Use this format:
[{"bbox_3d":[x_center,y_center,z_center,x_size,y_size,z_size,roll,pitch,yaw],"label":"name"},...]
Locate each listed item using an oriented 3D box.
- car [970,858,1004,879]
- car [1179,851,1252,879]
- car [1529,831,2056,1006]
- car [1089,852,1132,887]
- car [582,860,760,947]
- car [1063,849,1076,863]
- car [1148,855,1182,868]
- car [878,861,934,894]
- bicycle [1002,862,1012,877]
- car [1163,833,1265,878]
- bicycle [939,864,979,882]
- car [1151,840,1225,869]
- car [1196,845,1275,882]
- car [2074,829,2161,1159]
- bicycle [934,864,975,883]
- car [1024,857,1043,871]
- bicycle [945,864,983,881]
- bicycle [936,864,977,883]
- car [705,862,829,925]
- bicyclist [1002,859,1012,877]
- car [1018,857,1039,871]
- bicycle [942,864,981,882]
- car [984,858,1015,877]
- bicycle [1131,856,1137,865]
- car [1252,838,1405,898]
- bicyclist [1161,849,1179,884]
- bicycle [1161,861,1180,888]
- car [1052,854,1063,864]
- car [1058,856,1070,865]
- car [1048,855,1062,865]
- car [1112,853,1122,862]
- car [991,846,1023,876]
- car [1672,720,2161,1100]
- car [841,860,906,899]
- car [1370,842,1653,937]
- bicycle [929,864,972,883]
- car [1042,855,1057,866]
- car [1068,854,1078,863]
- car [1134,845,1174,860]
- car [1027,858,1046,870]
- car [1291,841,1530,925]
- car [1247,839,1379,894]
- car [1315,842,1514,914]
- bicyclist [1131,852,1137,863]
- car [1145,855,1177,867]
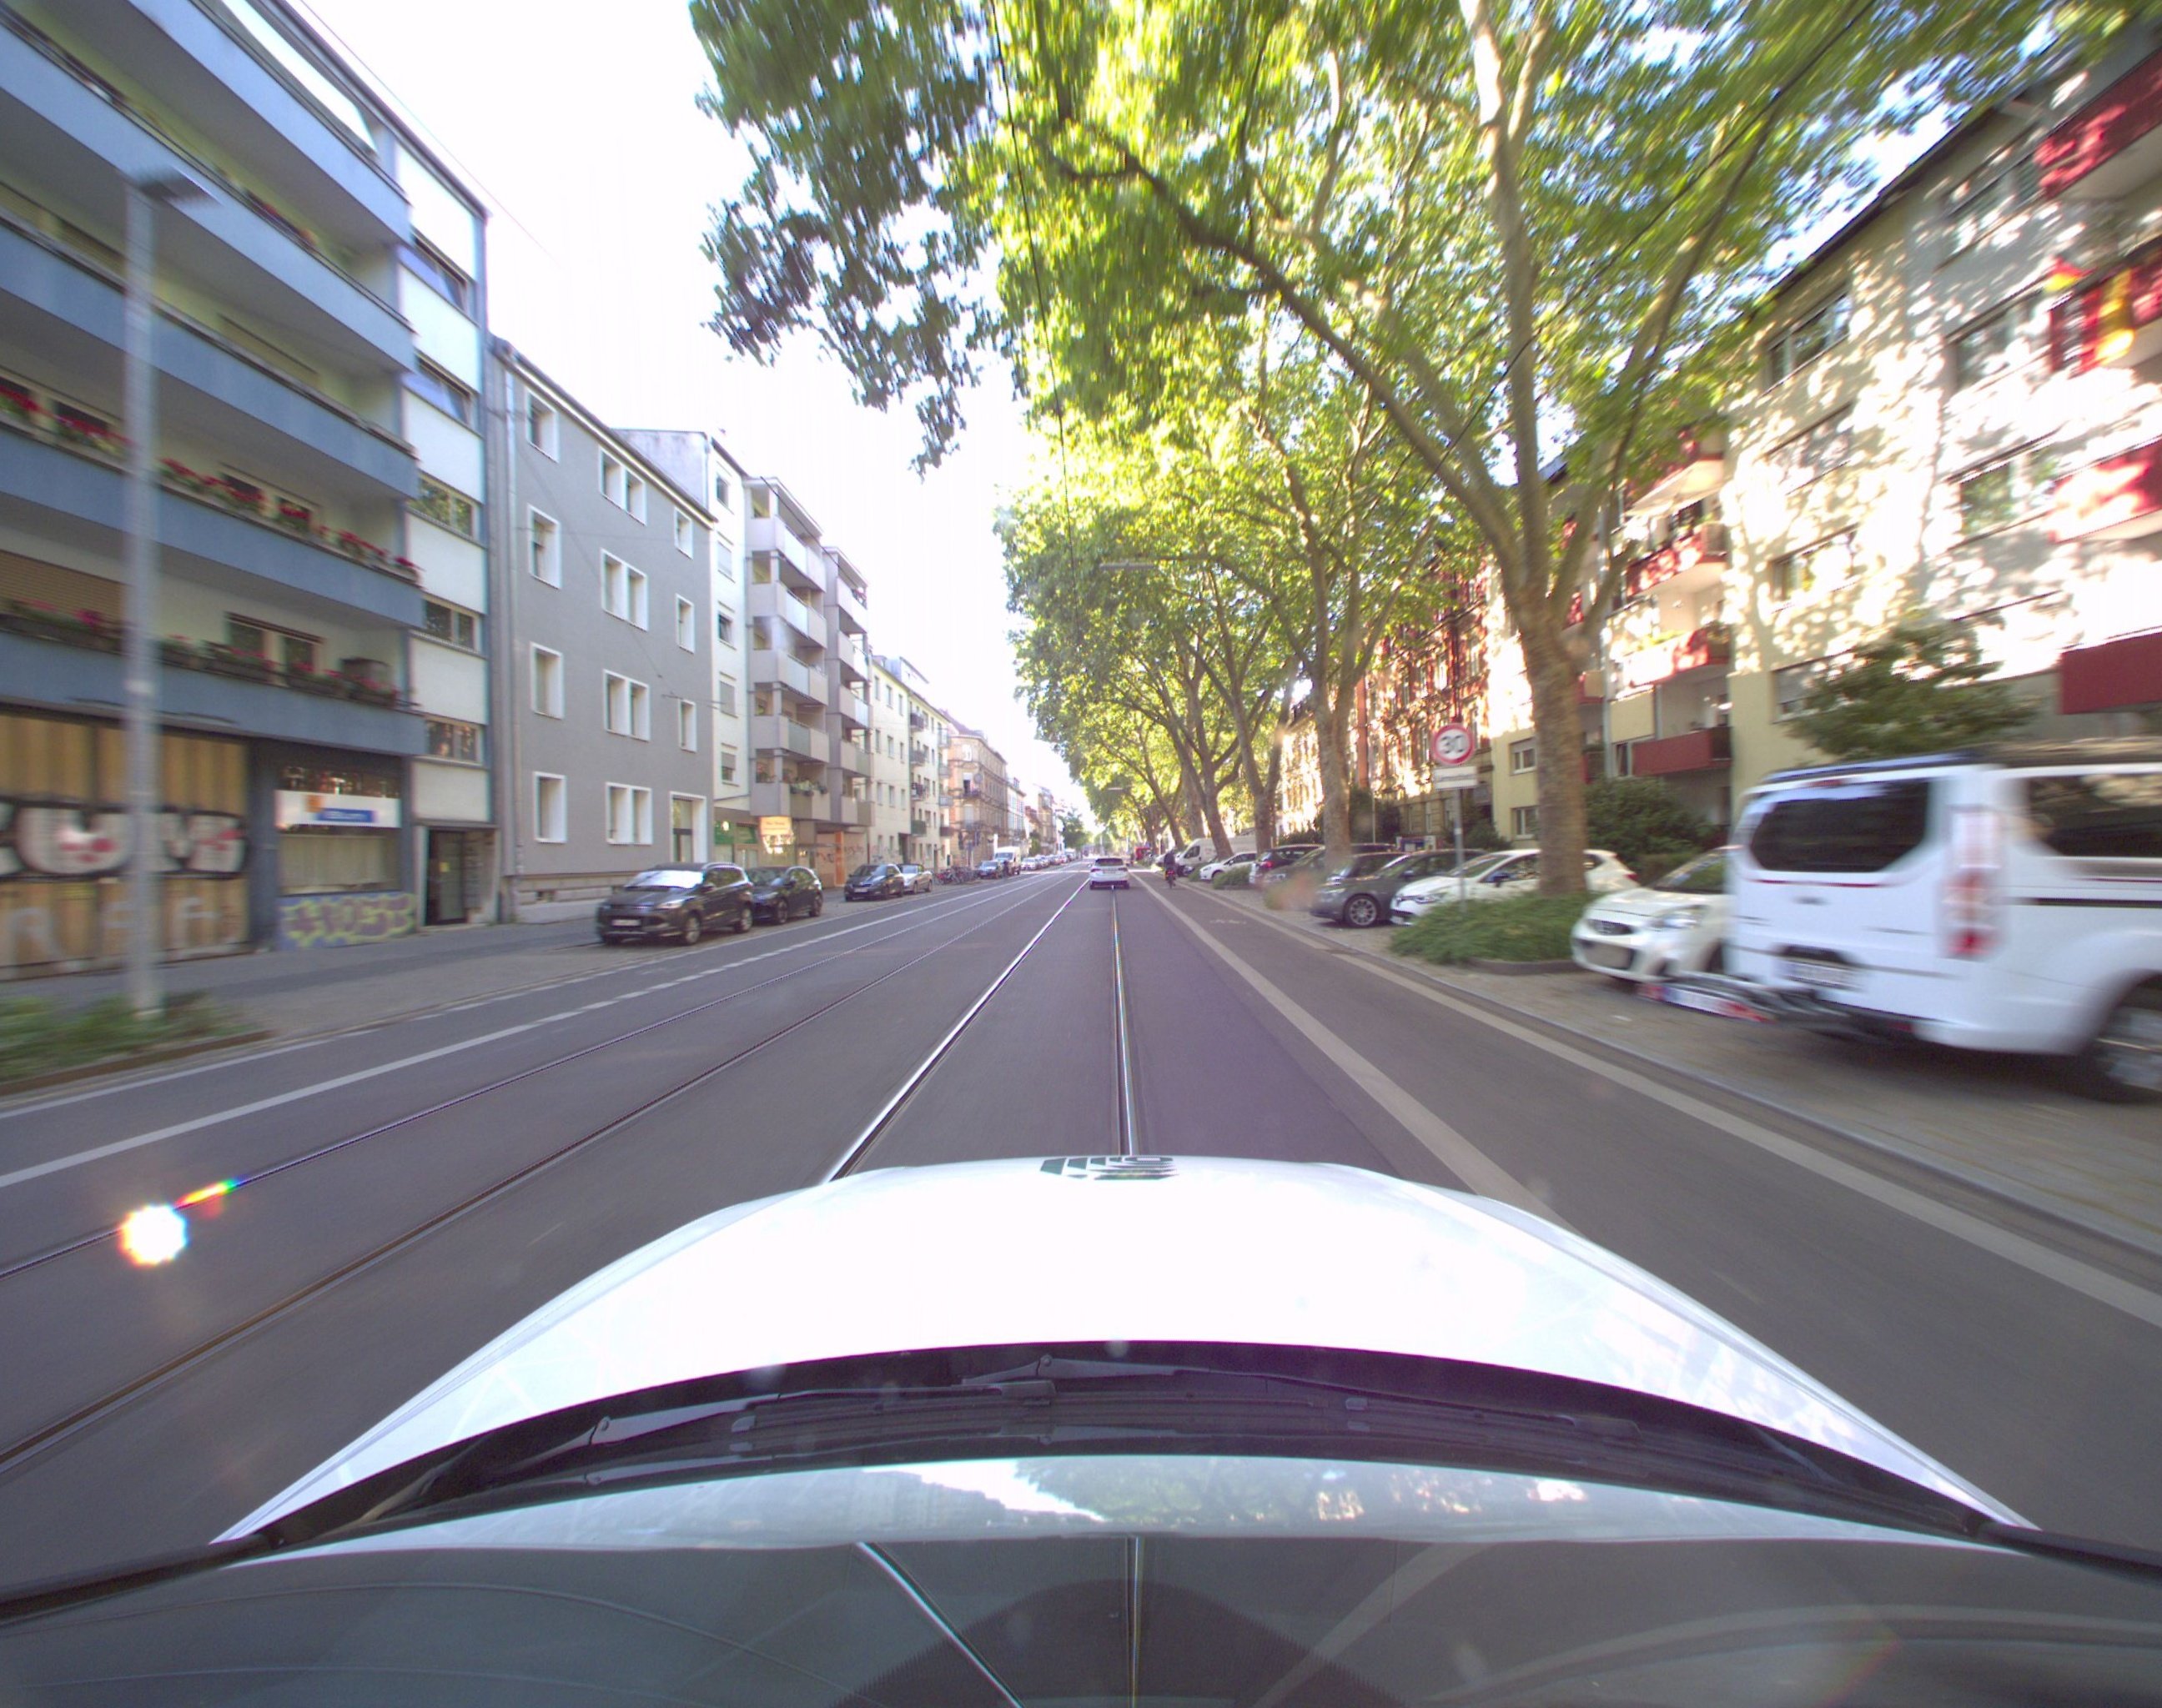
[{"bbox_3d":[-7.180,1.083,62.805,1.986,1.530,4.002,-2,0,2],"label":"car"},{"bbox_3d":[8.191,0.645,49.725,4.041,1.540,1.997,-2,0,-4],"label":"car"},{"bbox_3d":[6.975,0.581,8.278,3.886,1.479,1.722,-2,0,-2],"label":"car"},{"bbox_3d":[1.324,0.658,35.955,1.755,1.384,4.002,-2,0,2],"label":"car"},{"bbox_3d":[-8.809,0.977,17.957,1.696,1.650,4.241,1,0,0],"label":"car"},{"bbox_3d":[-2.810,0.503,197.418,2.957,3.155,5.850,-1,-1,2],"label":"car"},{"bbox_3d":[10.384,0.898,100.631,4.034,1.540,2.001,-2,0,1],"label":"car"},{"bbox_3d":[-8.219,1.066,38.519,1.478,1.403,3.995,-1,0,4],"label":"car"},{"bbox_3d":[-5.420,1.157,59.773,0.603,1.071,1.582,-2,0,-1],"label":"bicycle"},{"bbox_3d":[8.516,0.107,52.555,6.111,2.635,2.529,-2,0,0],"label":"car"},{"bbox_3d":[-8.007,1.253,53.542,2.519,1.172,0.718,0,-2,-4],"label":"bicycle"},{"bbox_3d":[9.304,0.052,71.170,6.111,2.282,2.529,-2,0,0],"label":"car"},{"bbox_3d":[7.581,0.473,40.314,3.618,1.666,1.824,-2,0,4],"label":"car"},{"bbox_3d":[6.964,0.568,3.028,4.282,1.479,1.831,-2,0,0],"label":"car"},{"bbox_3d":[-8.034,1.252,51.667,2.520,1.172,0.718,0,-2,-5],"label":"bicycle"},{"bbox_3d":[-5.755,1.222,99.076,1.986,1.530,4.002,-2,0,2],"label":"car"},{"bbox_3d":[-7.937,1.263,55.445,2.520,1.172,0.718,0,-2,-5],"label":"bicycle"},{"bbox_3d":[-8.018,1.254,52.554,2.519,1.172,0.718,0,-2,-4],"label":"bicycle"},{"bbox_3d":[-8.707,1.026,22.990,1.696,1.544,4.244,1,0,2],"label":"car"},{"bbox_3d":[-5.422,0.992,59.761,0.595,1.286,0.917,-2,0,-1],"label":"bicyclist"},{"bbox_3d":[-6.046,1.183,94.853,1.986,1.530,4.002,-2,0,2],"label":"car"},{"bbox_3d":[-7.980,1.254,54.392,2.519,1.172,0.718,0,-2,-4],"label":"bicycle"},{"bbox_3d":[-6.815,1.130,68.581,1.986,1.530,4.002,-2,0,2],"label":"car"},{"bbox_3d":[6.642,0.774,102.683,0.647,1.071,1.583,-2,0,0],"label":"bicycle"},{"bbox_3d":[7.626,0.421,25.384,4.220,1.666,1.848,-2,0,0],"label":"car"},{"bbox_3d":[3.822,0.517,34.924,0.676,1.443,1.048,-2,0,2],"label":"bicyclist"},{"bbox_3d":[3.828,0.855,34.876,0.679,1.071,1.782,-2,0,3],"label":"bicycle"},{"bbox_3d":[-5.081,1.031,176.000,1.986,2.013,4.002,-2,0,2],"label":"car"},{"bbox_3d":[-3.178,1.169,151.302,1.986,1.640,4.002,-1,-1,2],"label":"car"},{"bbox_3d":[-4.096,0.976,130.834,1.986,1.640,4.002,-1,-1,2],"label":"car"},{"bbox_3d":[6.656,0.627,151.611,1.754,1.475,4.002,-2,0,2],"label":"car"},{"bbox_3d":[-6.715,0.610,74.530,2.170,2.597,4.951,-2,0,2],"label":"car"},{"bbox_3d":[7.033,0.262,5.563,4.530,2.076,2.000,-2,0,-1],"label":"car"},{"bbox_3d":[-8.494,1.021,33.710,1.648,1.437,3.836,-1,0,0],"label":"car"},{"bbox_3d":[7.500,0.597,14.516,4.021,1.479,1.924,-2,0,1],"label":"car"},{"bbox_3d":[-8.128,1.248,50.786,2.545,1.172,0.873,2,-2,-38],"label":"bicycle"},{"bbox_3d":[-4.806,0.945,124.157,1.986,1.530,4.002,-2,0,2],"label":"car"},{"bbox_3d":[-1.800,0.966,178.396,1.986,2.013,4.002,-2,0,2],"label":"car"},{"bbox_3d":[11.745,-0.286,131.383,6.111,2.282,2.529,-2,0,0],"label":"car"},{"bbox_3d":[-5.692,1.270,104.004,1.986,1.530,4.002,-2,0,2],"label":"car"},{"bbox_3d":[6.648,0.560,16.791,4.128,1.514,1.931,-2,0,0],"label":"car"},{"bbox_3d":[7.818,0.418,27.687,3.973,1.680,1.723,-2,0,0],"label":"car"},{"bbox_3d":[7.760,0.541,19.207,3.973,1.514,1.761,-2,0,0],"label":"car"},{"bbox_3d":[6.626,0.425,102.657,0.647,1.344,0.934,-2,0,0],"label":"bicyclist"},{"bbox_3d":[10.520,0.919,107.181,4.034,1.540,2.001,-2,0,1],"label":"car"}]
